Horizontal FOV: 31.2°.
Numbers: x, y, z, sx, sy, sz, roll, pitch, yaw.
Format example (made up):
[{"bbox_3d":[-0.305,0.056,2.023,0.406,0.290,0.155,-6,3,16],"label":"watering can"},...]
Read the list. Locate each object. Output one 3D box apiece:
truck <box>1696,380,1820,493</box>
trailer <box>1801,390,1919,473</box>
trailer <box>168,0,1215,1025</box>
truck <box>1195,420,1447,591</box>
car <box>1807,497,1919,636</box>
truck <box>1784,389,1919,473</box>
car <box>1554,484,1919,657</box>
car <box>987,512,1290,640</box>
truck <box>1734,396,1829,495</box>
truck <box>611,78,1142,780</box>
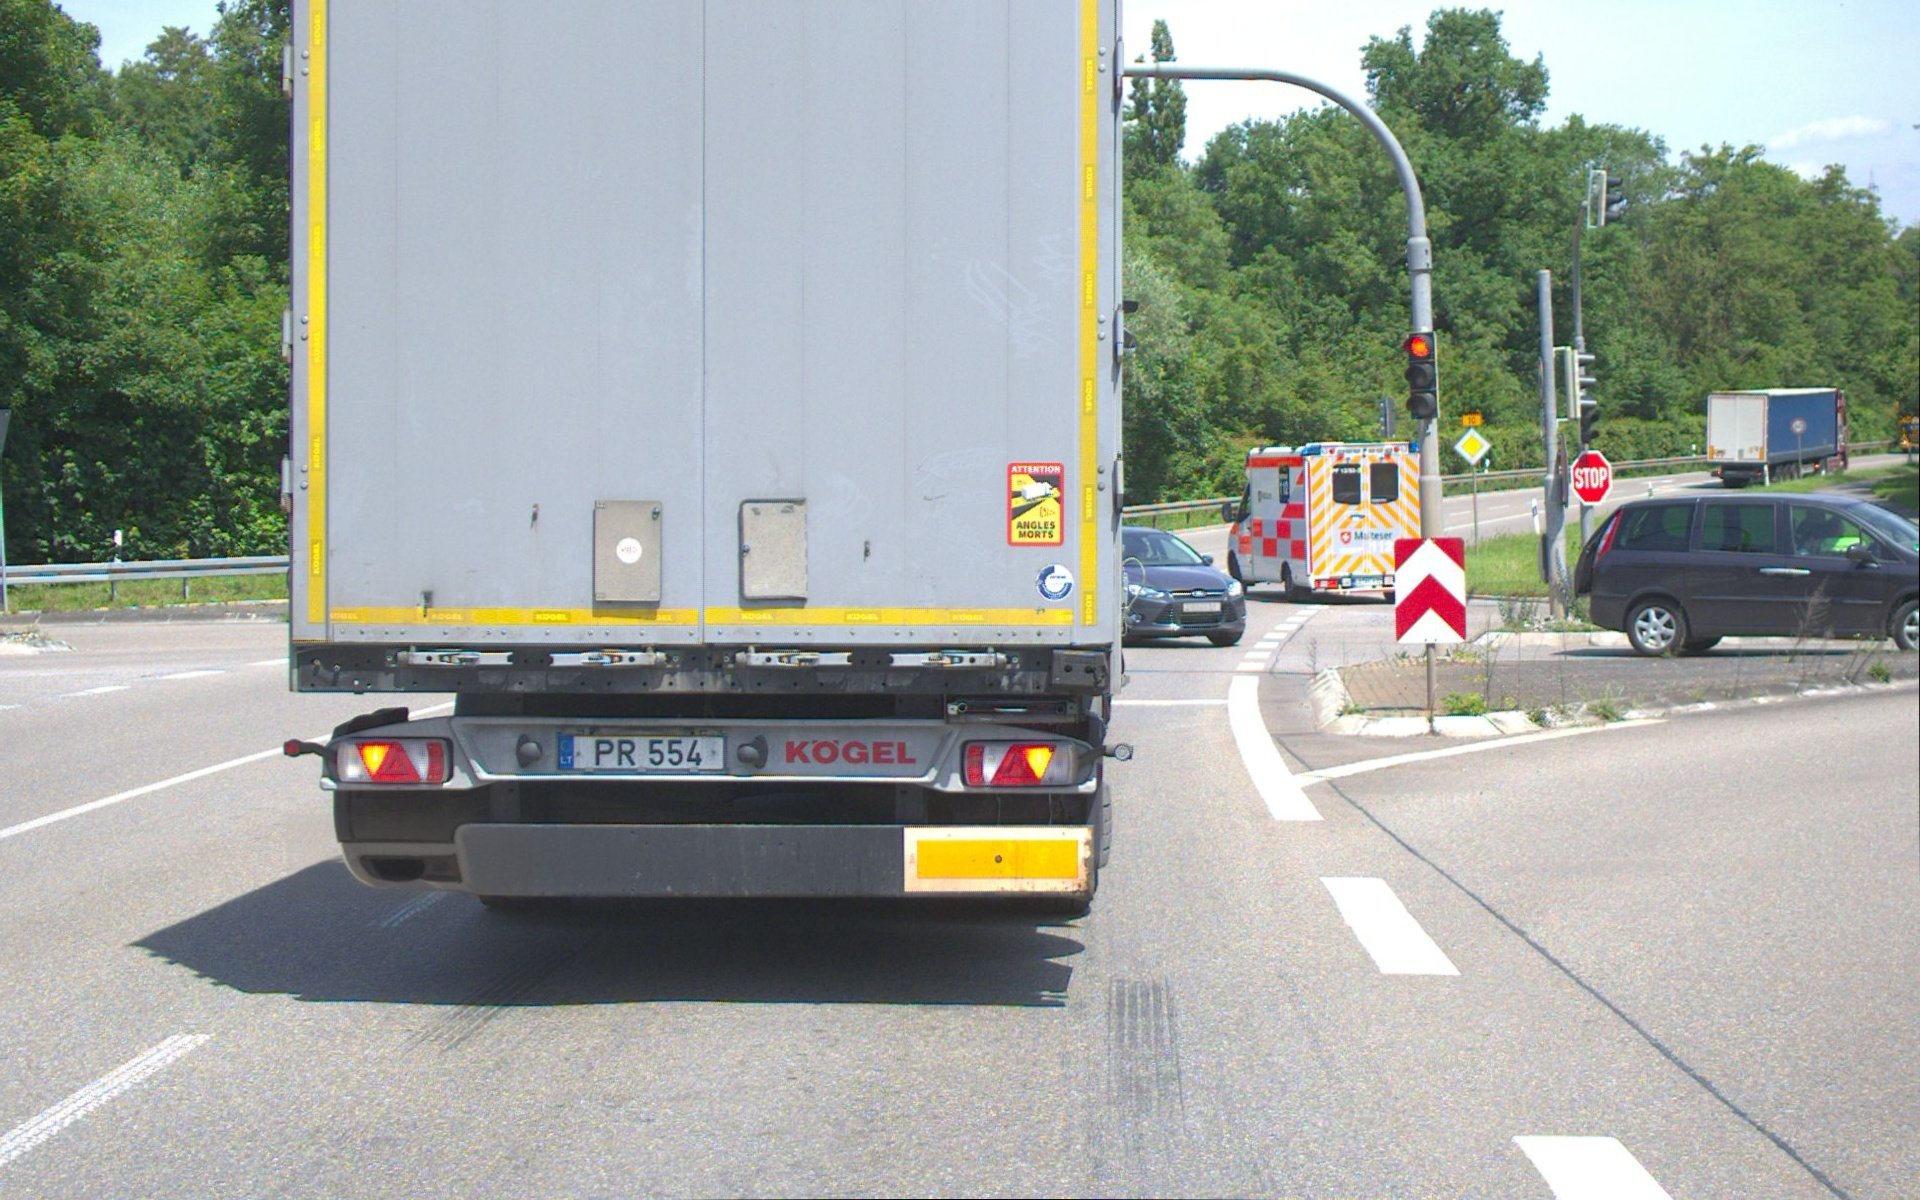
[{"bbox_3d":[34.537,-6.976,148.369,3.183,4.015,11.729,1,-1,23],"label":"truck"},{"bbox_3d":[52.250,-9.343,192.184,5.019,4.347,20.806,1,3,29],"label":"trailer"},{"bbox_3d":[-0.589,-0.909,16.292,3.052,4.020,12.559,0,1,2],"label":"trailer"},{"bbox_3d":[6.187,-1.563,59.853,2.493,2.718,6.032,1,-1,-13],"label":"truck"},{"bbox_3d":[13.191,-0.389,43.700,4.428,1.712,1.999,1,-1,5],"label":"car"},{"bbox_3d":[48.461,-9.068,185.198,5.019,4.347,11.747,1,2,29],"label":"truck"},{"bbox_3d":[9.074,-0.294,36.899,4.933,1.779,1.997,0,-1,28],"label":"car"},{"bbox_3d":[2.144,-0.269,42.648,1.993,1.486,4.258,1,-1,-25],"label":"car"},{"bbox_3d":[36.707,-6.856,153.503,3.173,3.991,5.807,1,-1,23],"label":"truck"},{"bbox_3d":[-0.375,-1.046,23.050,3.038,4.020,6.629,0,1,2],"label":"truck"}]
